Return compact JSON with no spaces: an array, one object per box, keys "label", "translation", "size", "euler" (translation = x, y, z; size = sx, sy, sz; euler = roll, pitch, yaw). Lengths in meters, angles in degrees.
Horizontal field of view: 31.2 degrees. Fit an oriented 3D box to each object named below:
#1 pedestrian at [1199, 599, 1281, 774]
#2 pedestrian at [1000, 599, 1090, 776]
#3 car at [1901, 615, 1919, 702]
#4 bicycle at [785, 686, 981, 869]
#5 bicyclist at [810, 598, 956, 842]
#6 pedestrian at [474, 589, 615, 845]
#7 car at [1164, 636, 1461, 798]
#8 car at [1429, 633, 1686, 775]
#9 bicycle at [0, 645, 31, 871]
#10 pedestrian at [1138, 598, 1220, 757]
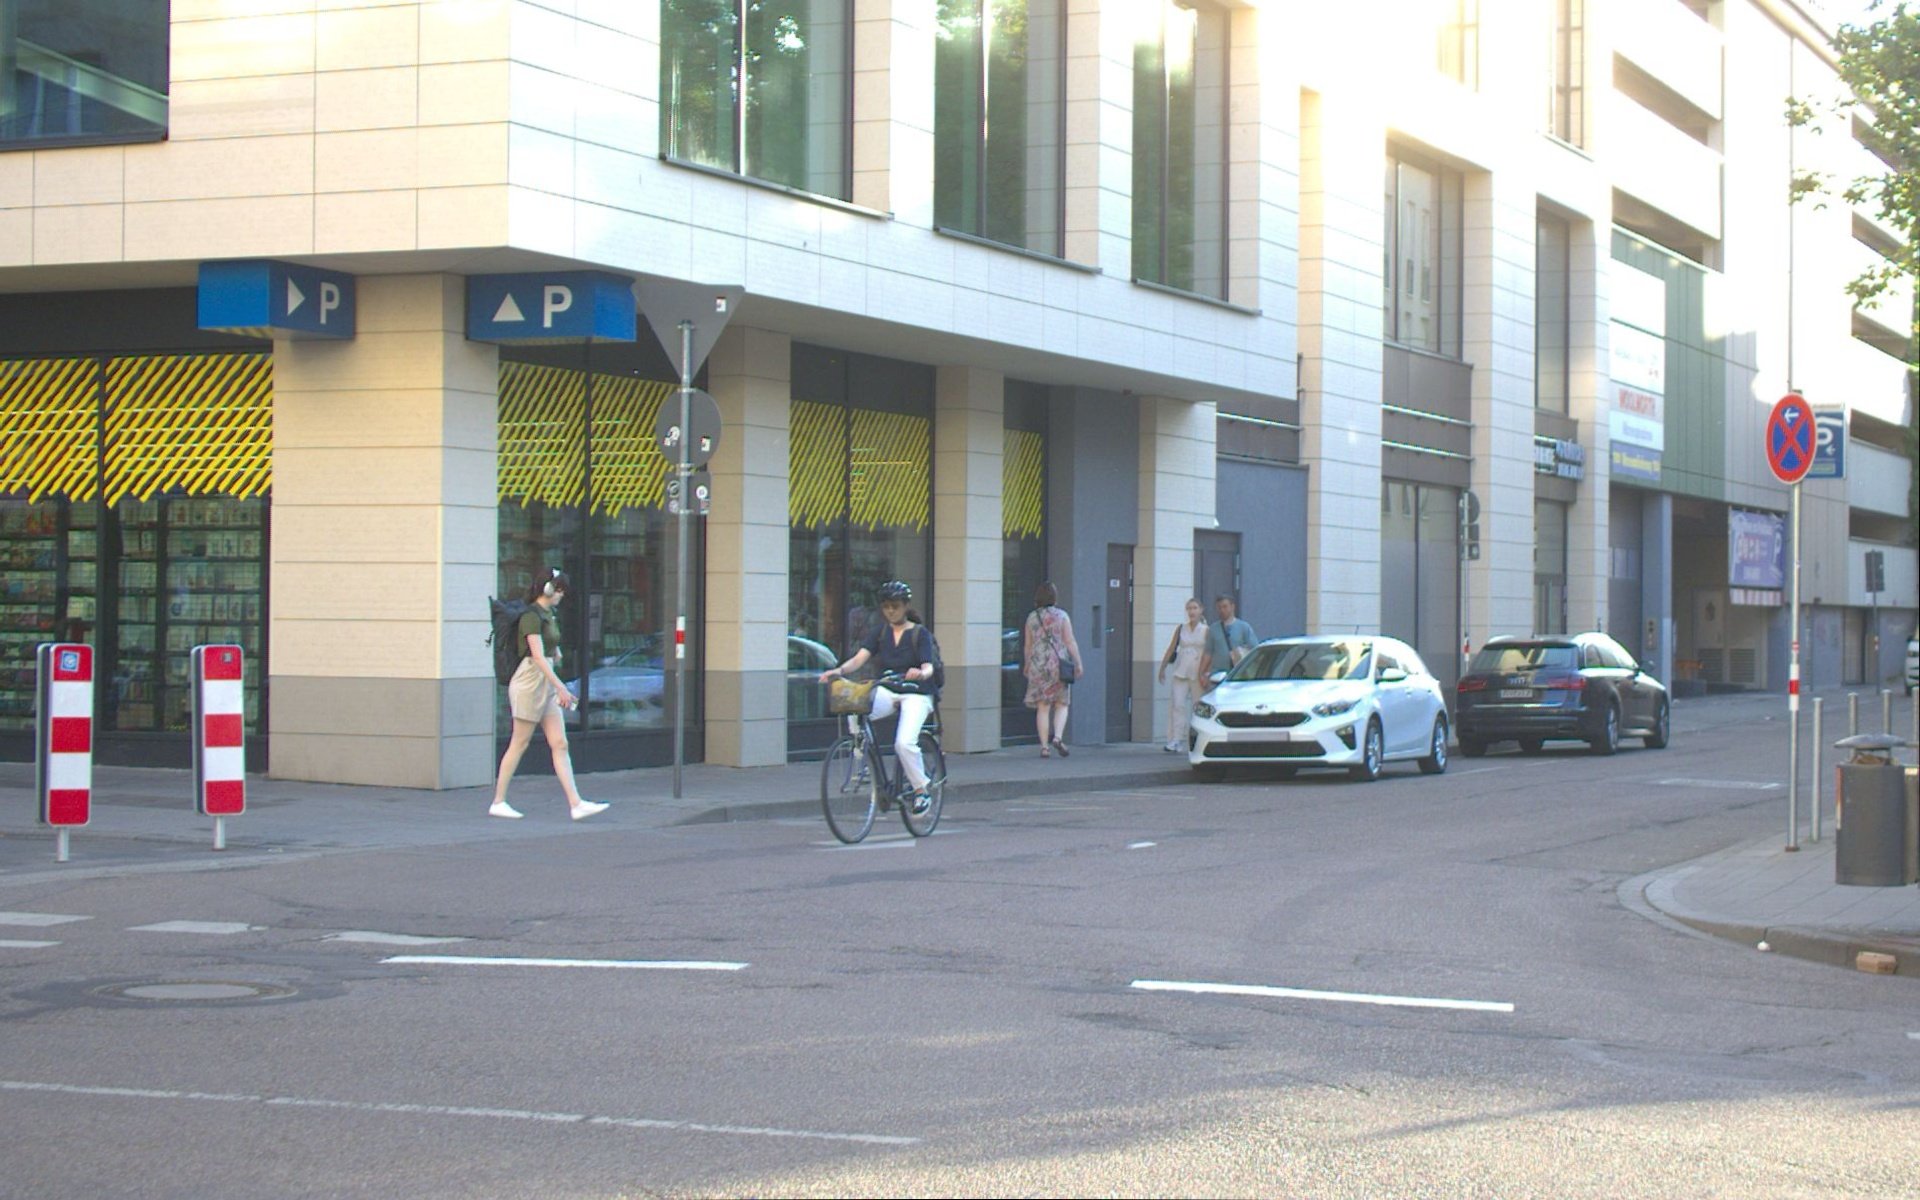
[{"label":"pedestrian","translation":[2.982,0.914,36.637],"size":[0.672,1.830,0.646],"euler":[1,0,21]},{"label":"pedestrian","translation":[0.856,0.867,34.406],"size":[0.673,1.738,0.646],"euler":[1,0,24]},{"label":"car","translation":[22.499,1.311,77.573],"size":[1.885,1.905,4.742],"euler":[1,0,22]},{"label":"bicycle","translation":[-0.490,1.154,22.834],"size":[0.664,1.134,1.820],"euler":[1,-1,20]},{"label":"bicyclist","translation":[-0.504,0.784,22.787],"size":[0.659,1.565,0.862],"euler":[1,-1,20]},{"label":"pedestrian","translation":[-2.863,0.790,23.659],"size":[0.635,1.717,0.845],"euler":[1,0,-32]},{"label":"car","translation":[3.572,1.109,34.152],"size":[1.779,1.448,4.225],"euler":[1,0,22]},{"label":"car","translation":[7.429,1.230,42.374],"size":[1.886,1.592,4.682],"euler":[1,0,26]},{"label":"bicycle","translation":[-5.903,0.853,18.379],"size":[0.664,1.250,2.138],"euler":[1,-1,20]},{"label":"pedestrian","translation":[2.354,0.827,36.879],"size":[0.672,1.669,0.646],"euler":[1,0,21]}]
